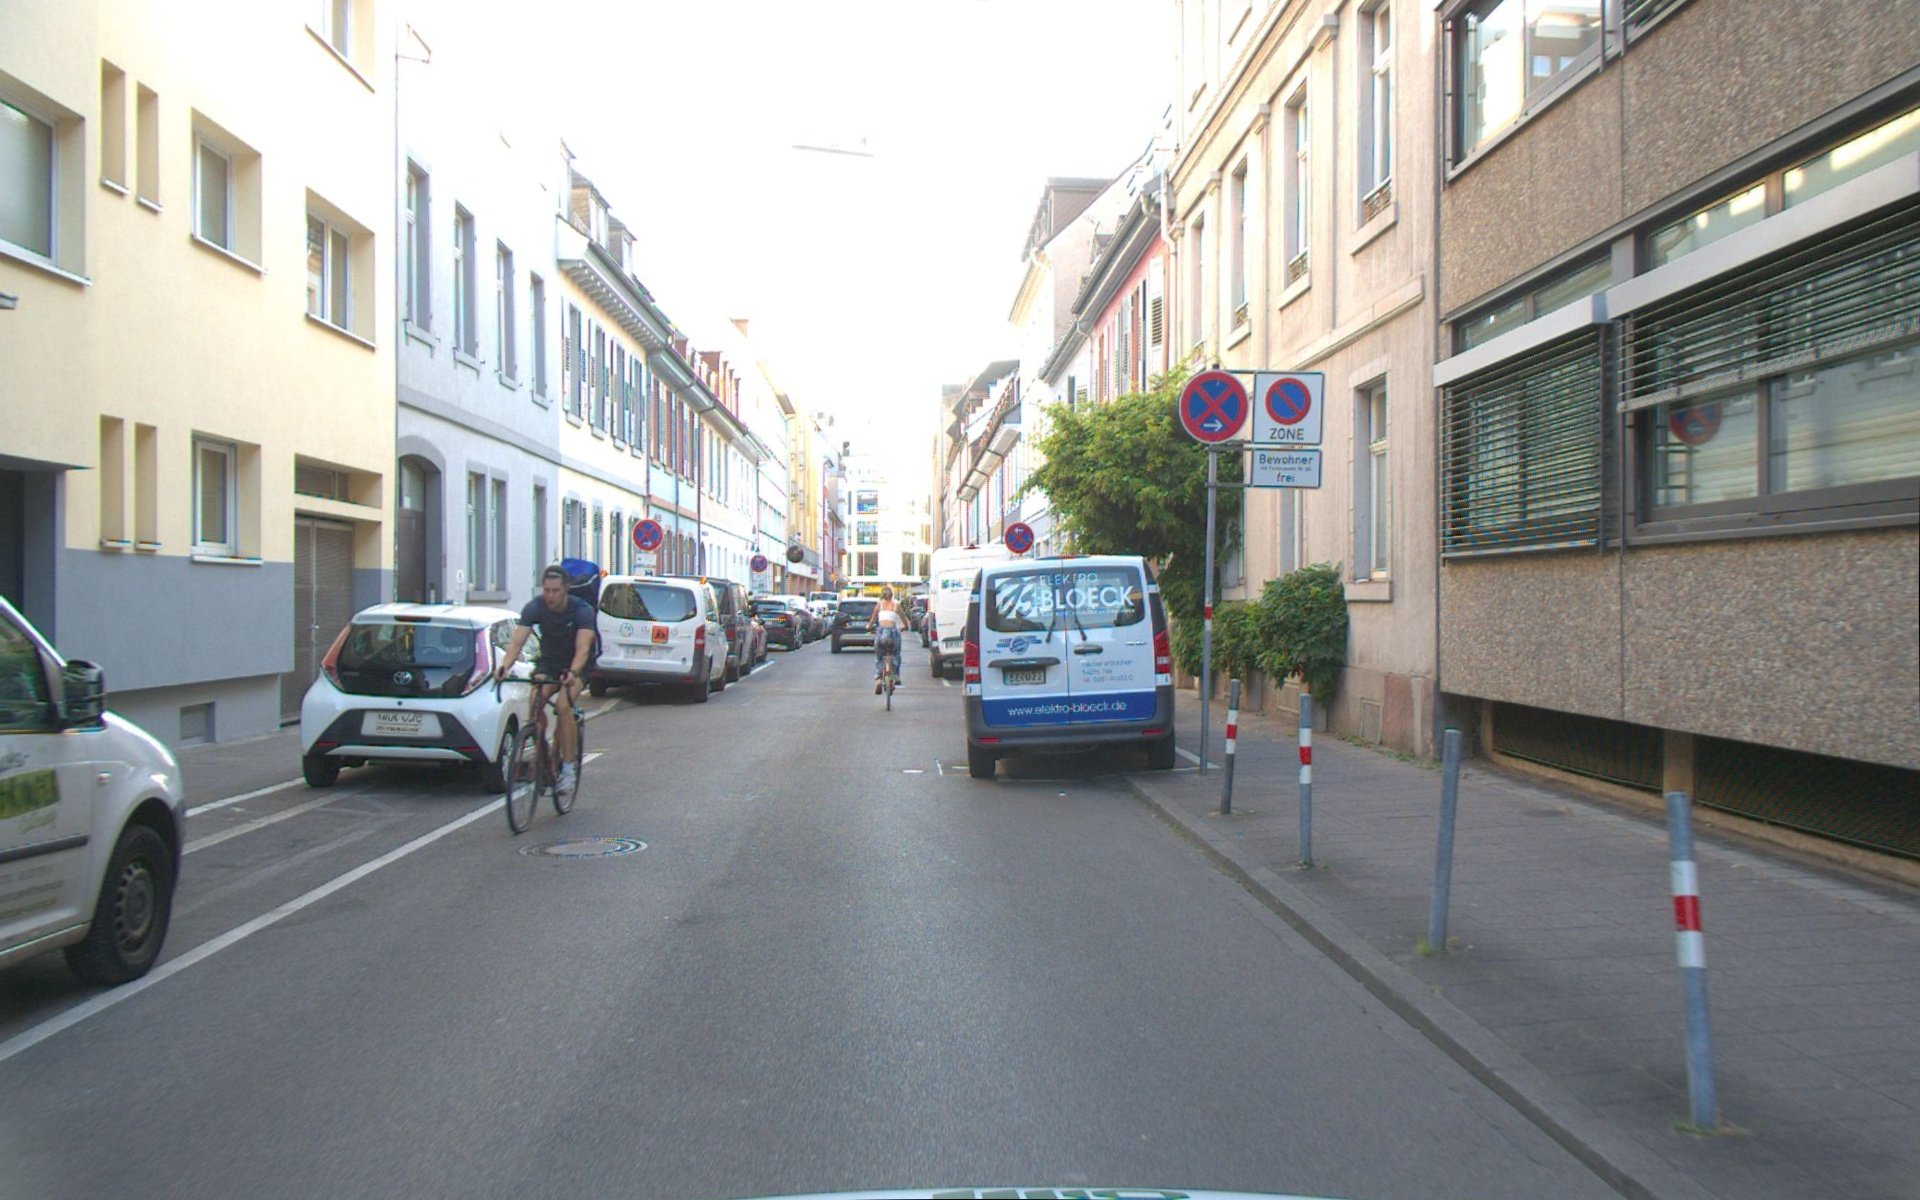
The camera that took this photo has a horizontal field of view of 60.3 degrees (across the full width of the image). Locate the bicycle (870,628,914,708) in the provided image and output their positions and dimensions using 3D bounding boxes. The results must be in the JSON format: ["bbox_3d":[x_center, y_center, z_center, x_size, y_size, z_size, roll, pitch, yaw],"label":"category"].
[{"bbox_3d":[-0.993,0.978,24.317,0.601,1.101,1.809,0,0,-1],"label":"bicycle"}]

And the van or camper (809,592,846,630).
[{"bbox_3d":[-7.281,0.601,91.268,1.807,2.048,4.676,1,0,-2],"label":"van or camper"}]

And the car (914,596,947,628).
[{"bbox_3d":[-1.555,0.631,85.984,1.620,1.588,3.604,1,0,-2],"label":"car"}]

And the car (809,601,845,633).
[{"bbox_3d":[-6.848,0.885,85.501,1.620,1.588,3.604,1,0,-2],"label":"car"}]

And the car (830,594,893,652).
[{"bbox_3d":[-2.896,0.660,49.188,1.783,1.646,3.998,1,0,-3],"label":"car"}]

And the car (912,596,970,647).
[{"bbox_3d":[-0.650,0.703,56.434,1.783,1.556,5.070,-4,0,-1],"label":"car"}]

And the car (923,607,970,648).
[{"bbox_3d":[-0.629,1.209,73.950,1.880,1.768,4.150,1,0,-3],"label":"car"}]

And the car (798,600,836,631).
[{"bbox_3d":[-6.953,0.760,80.516,1.620,1.435,3.604,1,0,-2],"label":"car"}]

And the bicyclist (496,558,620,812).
[{"bbox_3d":[-2.746,0.560,11.393,0.611,1.668,1.081,0,0,-2],"label":"bicyclist"}]

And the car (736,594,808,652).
[{"bbox_3d":[-5.788,0.688,51.317,1.766,1.706,4.489,0,0,-1],"label":"car"}]

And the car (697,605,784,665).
[{"bbox_3d":[-5.437,0.844,41.385,1.729,1.426,4.261,0,0,-2],"label":"car"}]

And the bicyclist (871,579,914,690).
[{"bbox_3d":[-0.992,0.502,24.258,0.608,1.602,0.683,0,-1,-1],"label":"bicyclist"}]

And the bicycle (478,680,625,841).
[{"bbox_3d":[-2.772,1.061,11.384,0.621,0.938,1.778,0,0,-2],"label":"bicycle"}]

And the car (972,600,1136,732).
[{"bbox_3d":[1.120,0.770,21.272,1.622,1.531,3.750,0,0,-4],"label":"car"}]

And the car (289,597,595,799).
[{"bbox_3d":[-4.369,0.763,14.488,1.629,1.474,3.519,3,0,-3],"label":"car"}]

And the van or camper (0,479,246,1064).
[{"bbox_3d":[-3.957,0.558,5.127,1.736,1.880,4.177,-1,0,-1],"label":"van or camper"}]

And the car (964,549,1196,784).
[{"bbox_3d":[1.007,0.549,16.340,1.896,1.931,5.276,-1,0,0],"label":"car"}]

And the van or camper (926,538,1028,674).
[{"bbox_3d":[0.258,0.113,36.334,2.008,2.684,7.060,0,0,-1],"label":"van or camper"}]

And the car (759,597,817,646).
[{"bbox_3d":[-6.444,0.787,62.457,1.958,1.737,4.532,1,0,-4],"label":"car"}]

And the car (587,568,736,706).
[{"bbox_3d":[-4.813,0.556,27.326,1.825,2.049,5.102,0,0,-3],"label":"car"}]

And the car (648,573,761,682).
[{"bbox_3d":[-5.118,0.514,33.704,1.825,2.049,4.810,0,0,-3],"label":"car"}]

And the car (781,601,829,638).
[{"bbox_3d":[-6.433,0.794,68.991,1.880,1.459,4.290,1,0,-4],"label":"car"}]

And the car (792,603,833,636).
[{"bbox_3d":[-6.717,0.886,75.432,1.620,1.435,3.901,1,0,-2],"label":"car"}]
